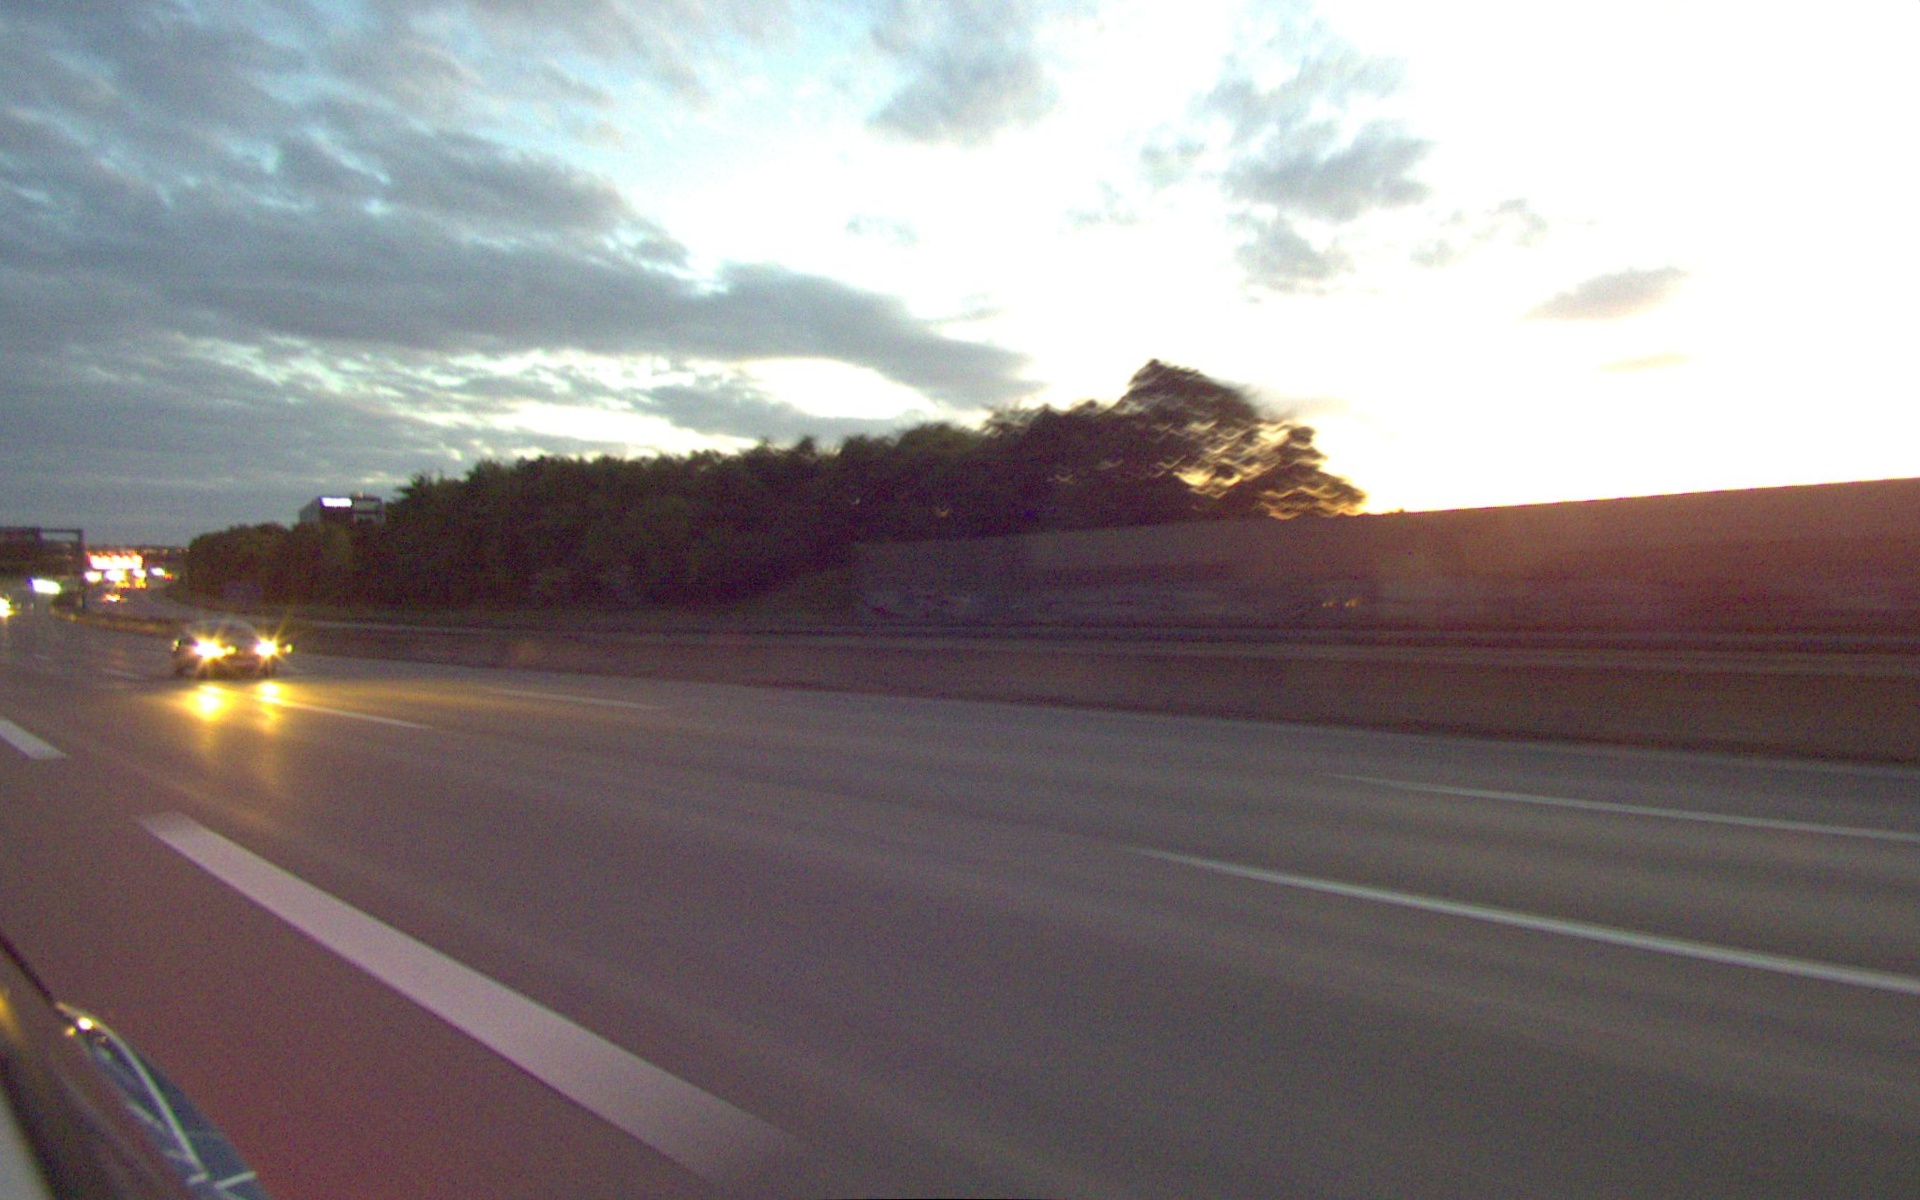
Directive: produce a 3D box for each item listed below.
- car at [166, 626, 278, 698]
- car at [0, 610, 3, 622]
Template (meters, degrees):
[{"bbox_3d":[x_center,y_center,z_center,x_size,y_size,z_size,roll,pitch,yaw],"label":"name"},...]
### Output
[{"bbox_3d":[-19.373,1.551,26.507,4.001,1.491,1.694,2,2,44],"label":"car"},{"bbox_3d":[-145.765,2.379,152.955,1.630,1.676,3.778,-1,2,-45],"label":"car"}]
